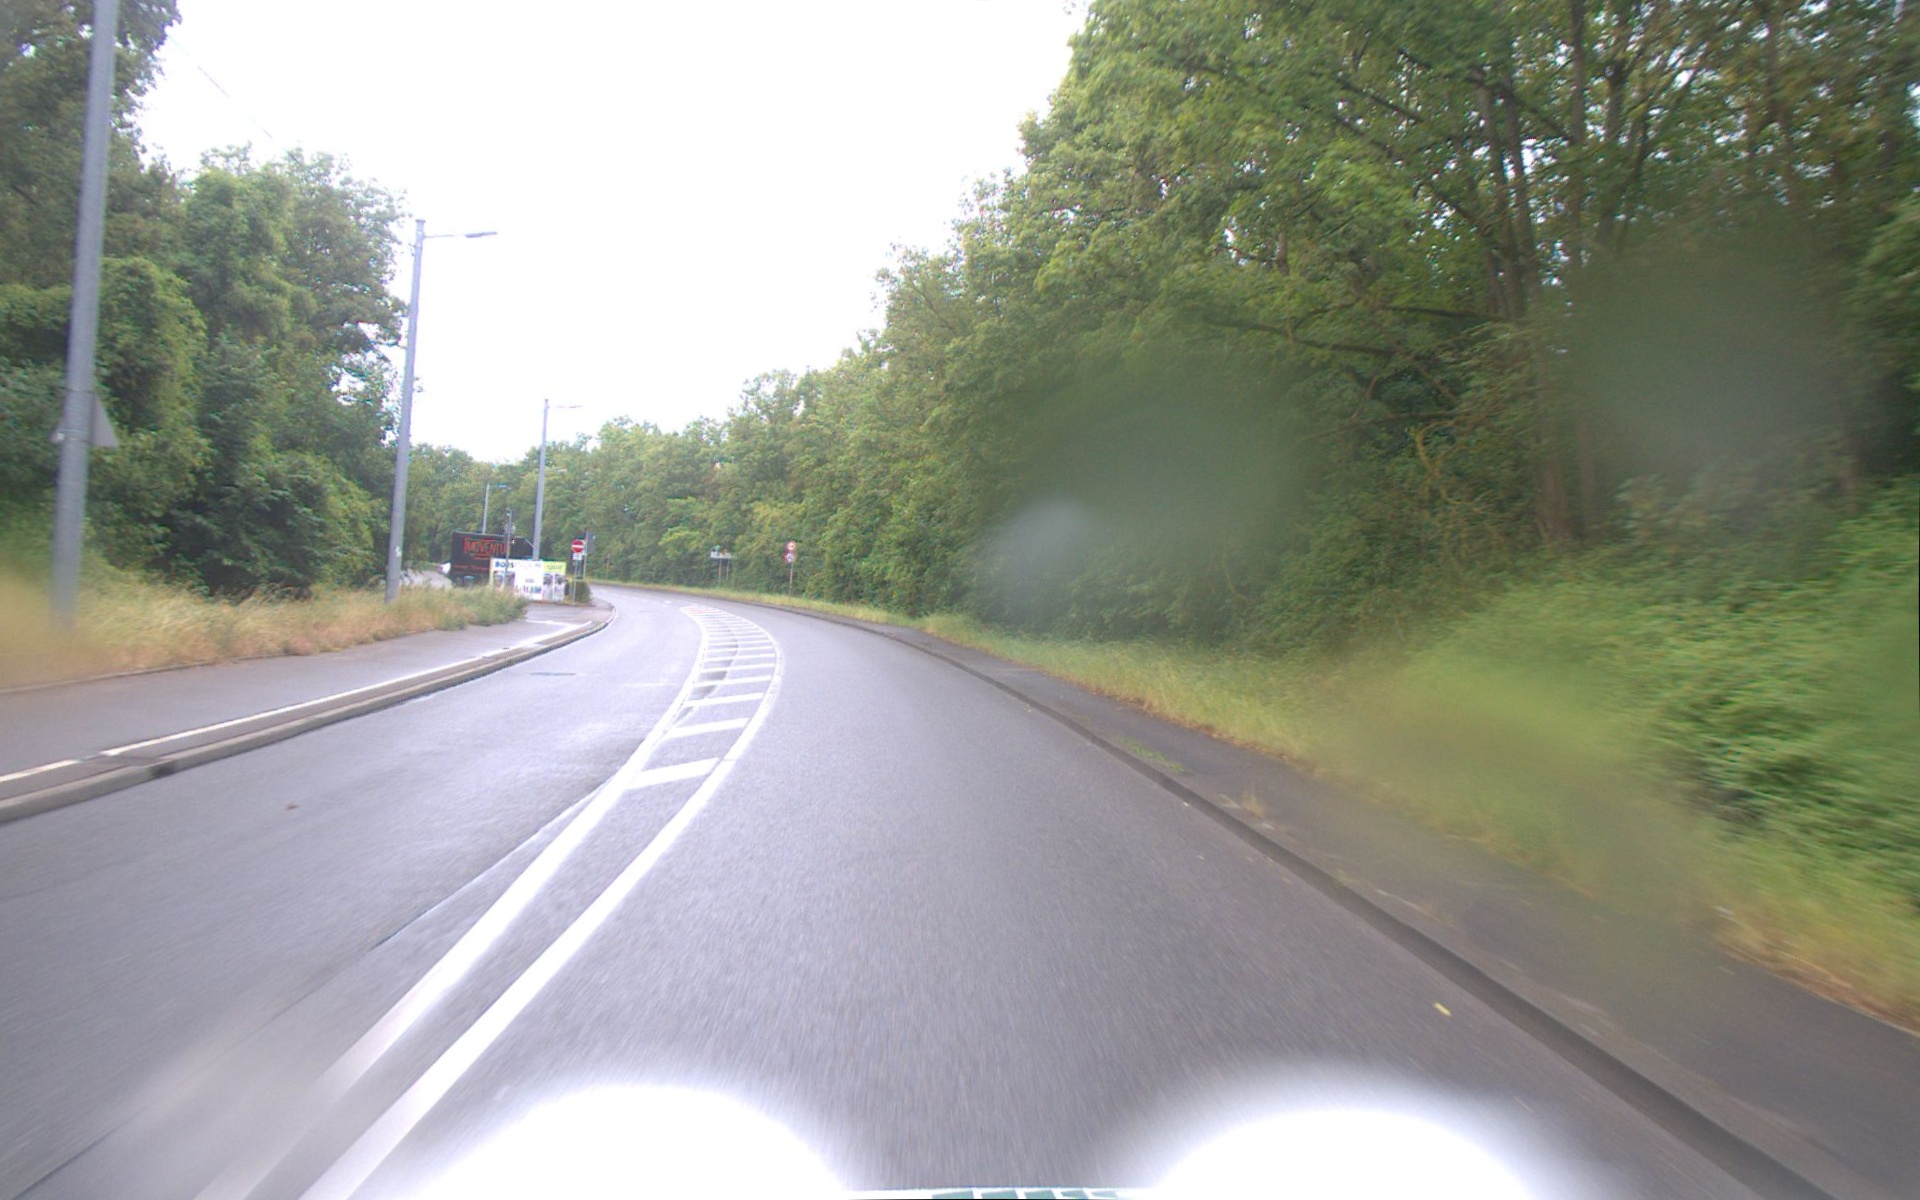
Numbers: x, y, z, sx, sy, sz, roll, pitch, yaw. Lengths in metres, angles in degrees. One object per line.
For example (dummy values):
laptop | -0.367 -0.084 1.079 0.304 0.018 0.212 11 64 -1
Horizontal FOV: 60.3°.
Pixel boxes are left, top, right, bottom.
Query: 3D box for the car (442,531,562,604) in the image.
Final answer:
car | -23.930 -1.677 86.358 5.858 3.563 1.989 2 0 -20
